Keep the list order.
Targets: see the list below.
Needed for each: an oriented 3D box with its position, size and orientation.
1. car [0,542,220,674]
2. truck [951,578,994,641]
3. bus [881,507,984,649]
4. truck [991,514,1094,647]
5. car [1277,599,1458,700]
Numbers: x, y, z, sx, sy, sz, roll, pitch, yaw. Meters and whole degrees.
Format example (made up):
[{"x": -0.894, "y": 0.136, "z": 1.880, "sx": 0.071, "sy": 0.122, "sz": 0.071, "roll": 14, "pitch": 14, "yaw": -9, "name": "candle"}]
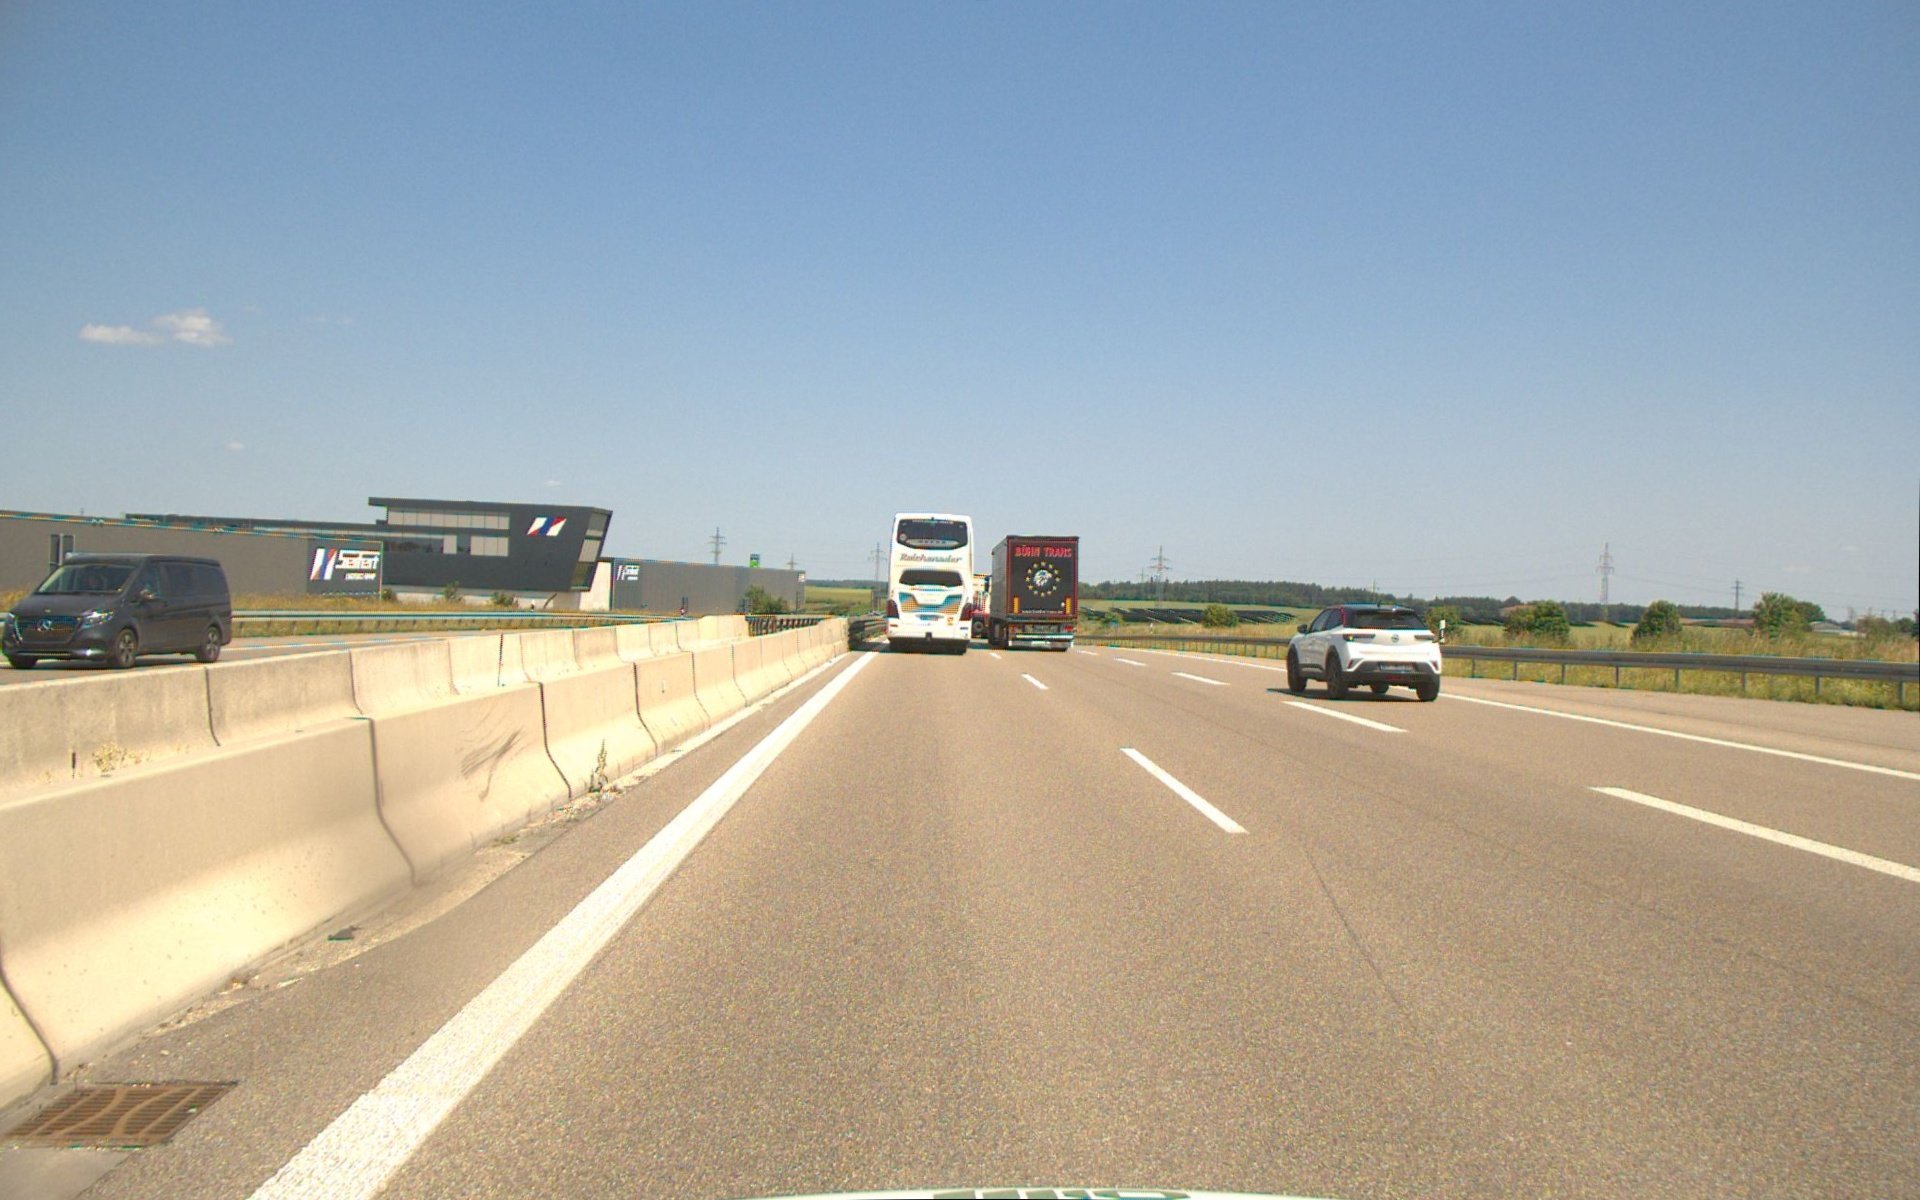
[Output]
[{"x": -15.053, "y": 0.114, "z": 28.579, "sx": 2.104, "sy": 2.049, "sz": 5.381, "roll": 1, "pitch": 0, "yaw": -1, "name": "car"}, {"x": 0.754, "y": 0.625, "z": 106.438, "sx": 2.388, "sy": 3.855, "sz": 6.490, "roll": 1, "pitch": 0, "yaw": -2, "name": "truck"}, {"x": -0.959, "y": -0.730, "z": 52.269, "sx": 2.920, "sy": 4.044, "sz": 9.102, "roll": 1, "pitch": 1, "yaw": -2, "name": "bus"}, {"x": 2.981, "y": -0.502, "z": 64.107, "sx": 3.310, "sy": 4.542, "sz": 13.565, "roll": 1, "pitch": -2, "yaw": 0, "name": "truck"}, {"x": 6.903, "y": 0.790, "z": 28.463, "sx": 1.853, "sy": 1.556, "sz": 4.259, "roll": 1, "pitch": 0, "yaw": -3, "name": "car"}]
